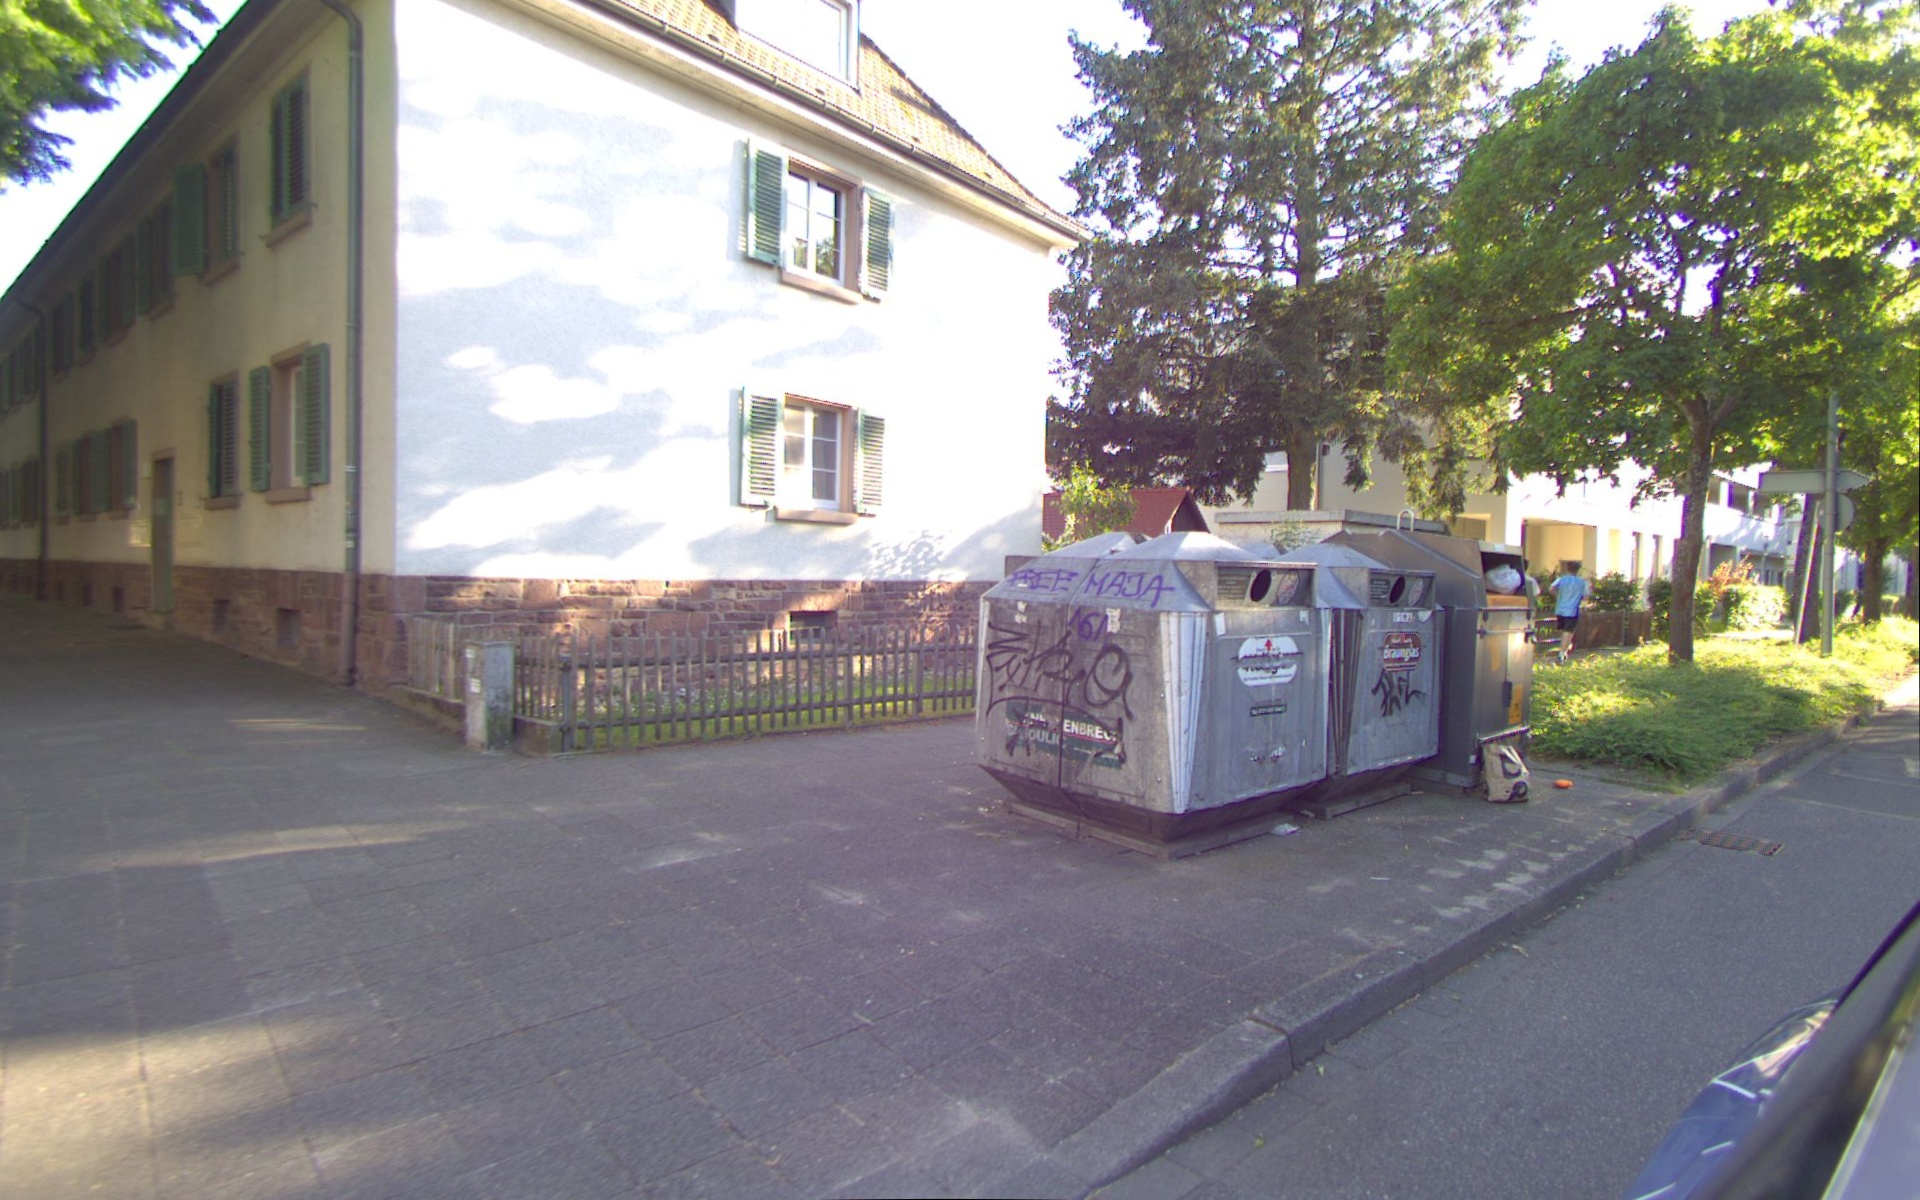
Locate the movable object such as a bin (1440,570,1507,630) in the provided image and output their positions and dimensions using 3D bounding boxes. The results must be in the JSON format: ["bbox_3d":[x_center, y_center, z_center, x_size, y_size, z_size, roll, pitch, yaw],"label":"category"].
[{"bbox_3d":[13.142,-0.010,25.879,1.343,1.444,1.080,-1,4,-43],"label":"movable object such as a bin"}]

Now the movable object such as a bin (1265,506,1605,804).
[{"bbox_3d":[3.498,0.322,7.542,1.370,1.876,1.923,-1,1,-42],"label":"movable object such as a bin"}]

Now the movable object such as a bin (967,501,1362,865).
[{"bbox_3d":[1.163,0.360,5.800,1.612,1.678,1.588,-1,1,-42],"label":"movable object such as a bin"}]

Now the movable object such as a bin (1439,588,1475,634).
[{"bbox_3d":[11.634,0.247,23.689,0.604,1.042,0.538,-1,3,-43],"label":"movable object such as a bin"}]

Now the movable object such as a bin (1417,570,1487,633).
[{"bbox_3d":[12.095,0.008,24.888,1.364,1.447,1.080,-1,4,-43],"label":"movable object such as a bin"}]

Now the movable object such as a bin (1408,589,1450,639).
[{"bbox_3d":[10.287,0.289,22.183,0.630,1.042,0.606,-1,3,-43],"label":"movable object such as a bin"}]

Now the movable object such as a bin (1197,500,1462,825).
[{"bbox_3d":[2.434,0.341,6.655,1.363,1.850,1.148,-1,1,-42],"label":"movable object such as a bin"}]

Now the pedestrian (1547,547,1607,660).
[{"bbox_3d":[10.760,0.049,17.654,0.880,1.917,0.674,-1,1,-42],"label":"pedestrian"}]

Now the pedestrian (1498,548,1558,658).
[{"bbox_3d":[10.181,0.039,18.137,1.001,1.917,0.643,-1,1,-42],"label":"pedestrian"}]
